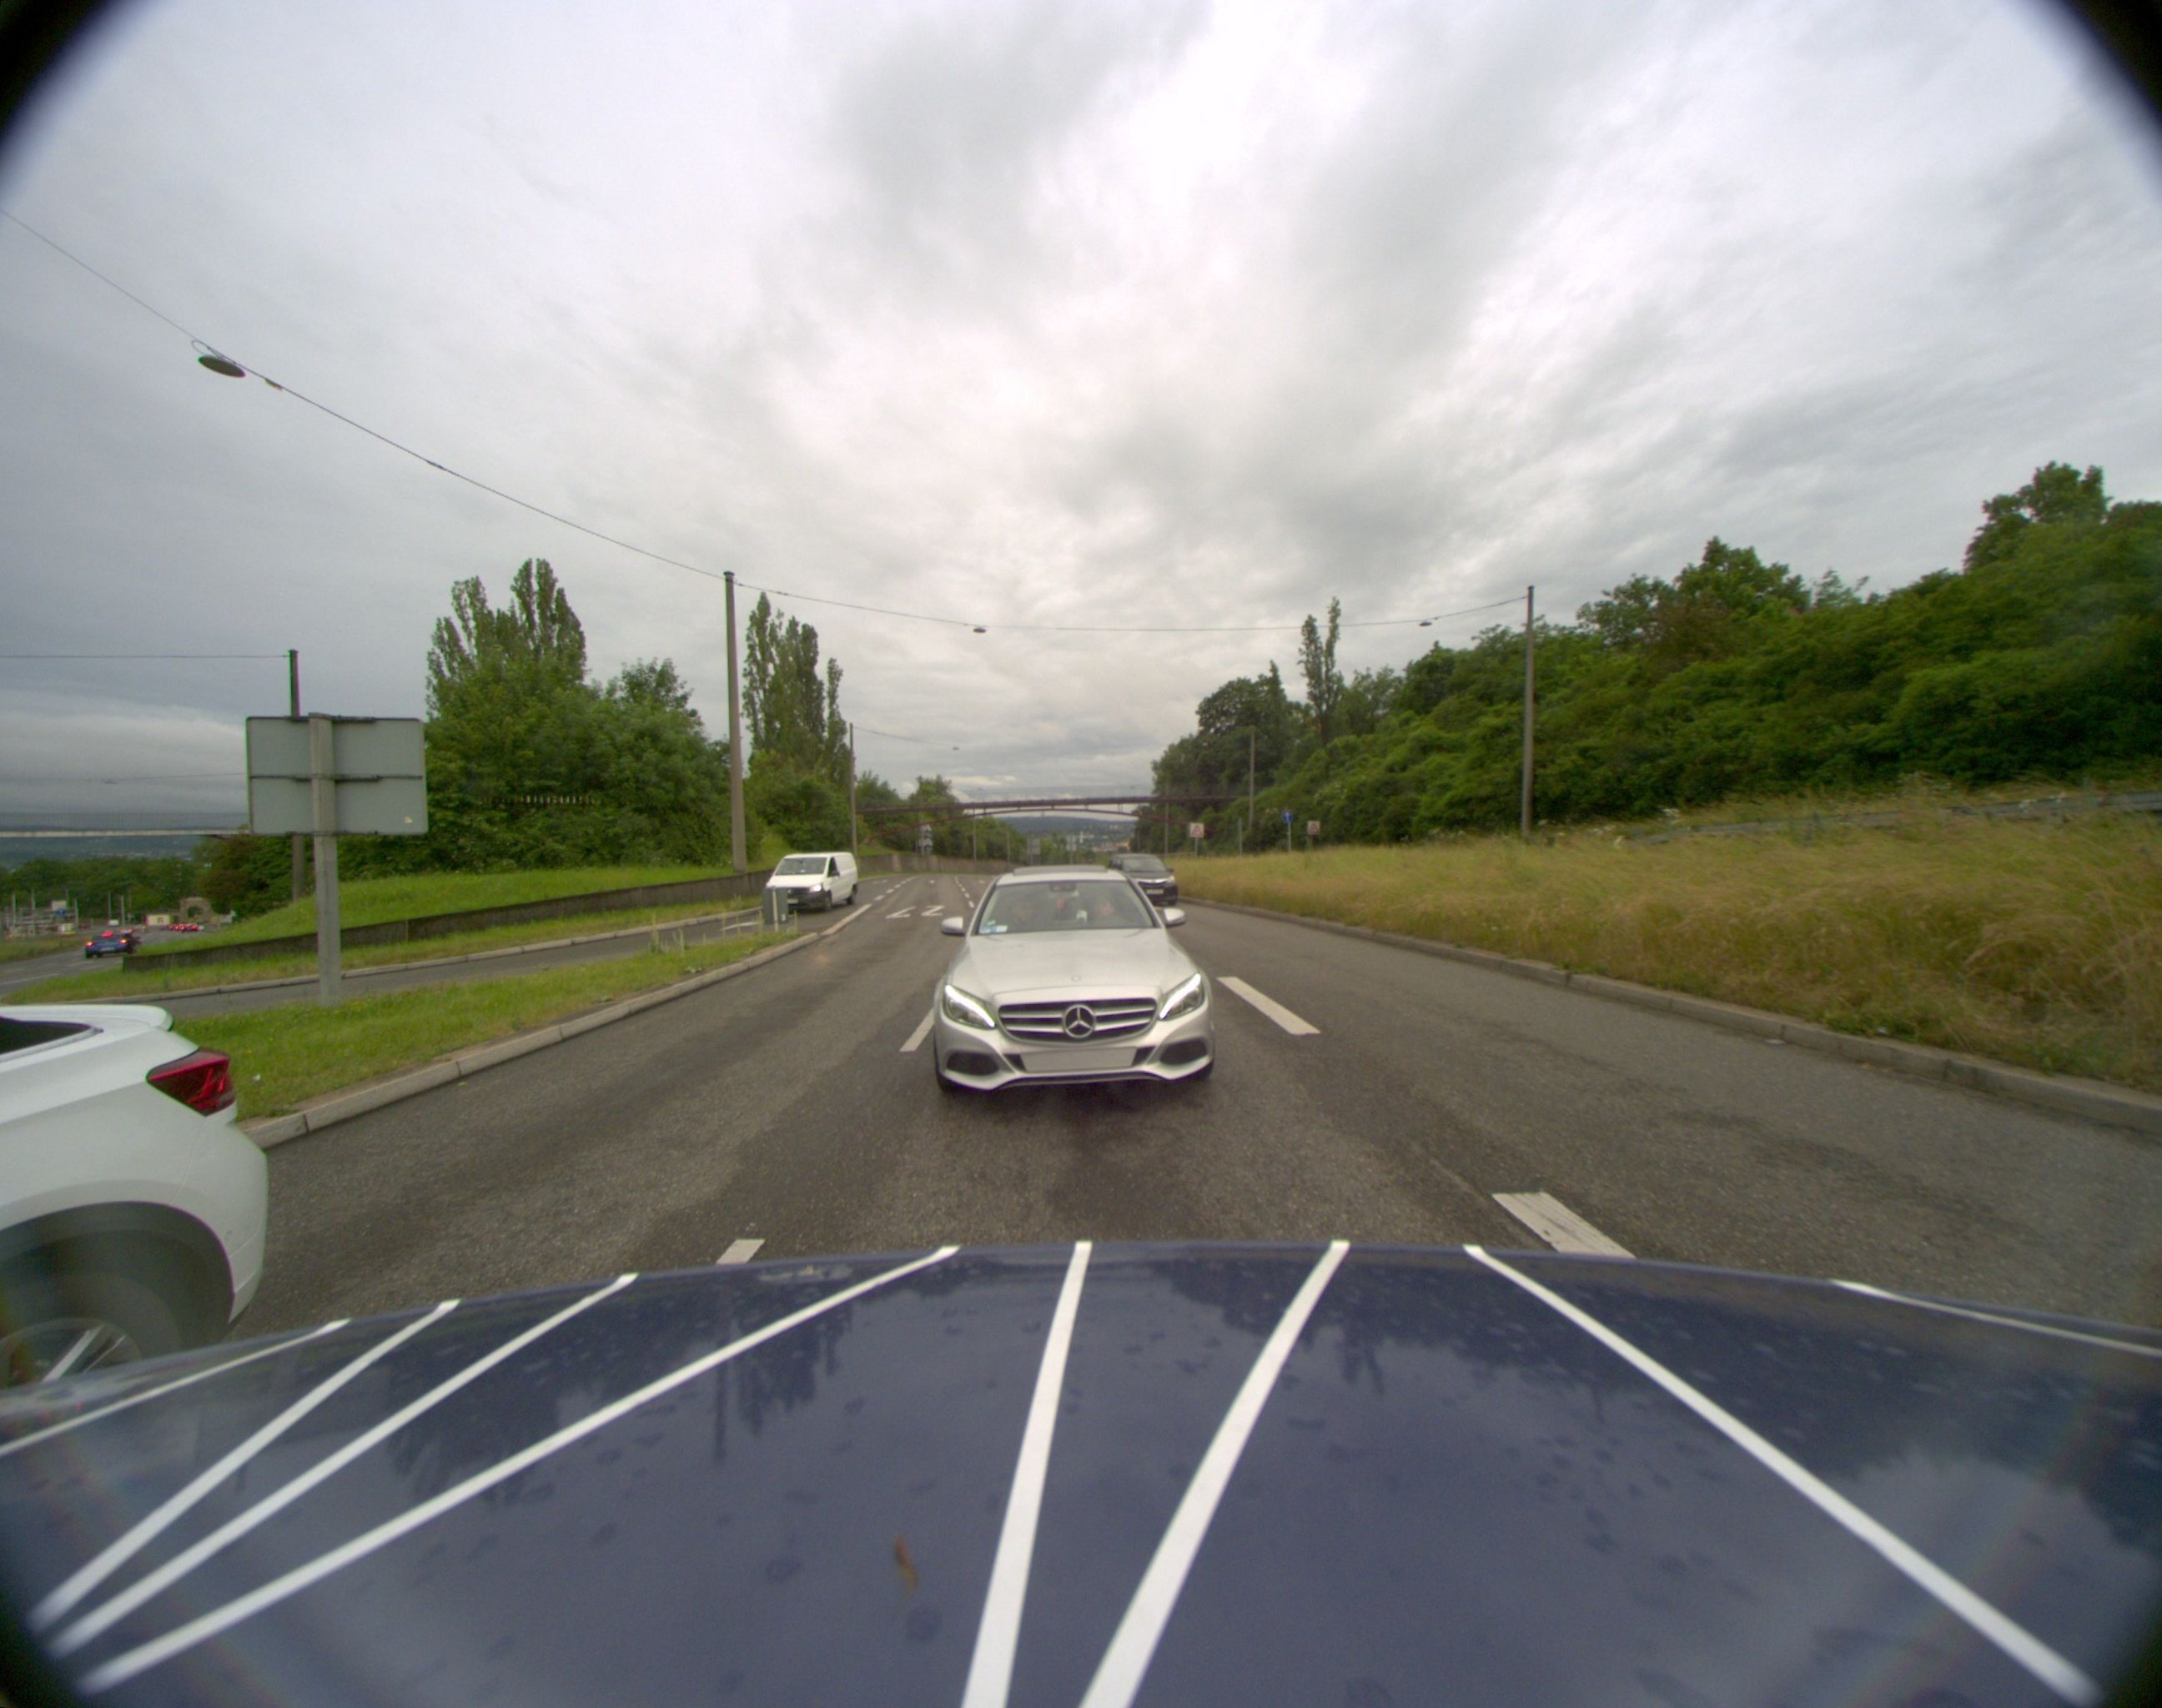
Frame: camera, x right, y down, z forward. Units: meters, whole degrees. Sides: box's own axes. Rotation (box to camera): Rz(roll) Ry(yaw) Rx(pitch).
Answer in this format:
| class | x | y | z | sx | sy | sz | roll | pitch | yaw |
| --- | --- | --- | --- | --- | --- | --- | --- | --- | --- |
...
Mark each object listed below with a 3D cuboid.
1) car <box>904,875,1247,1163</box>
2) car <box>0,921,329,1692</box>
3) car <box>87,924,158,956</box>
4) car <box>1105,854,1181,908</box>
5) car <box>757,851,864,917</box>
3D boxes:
| class | x | y | z | sx | sy | sz | roll | pitch | yaw |
| --- | --- | --- | --- | --- | --- | --- | --- | --- | --- |
| car | -0.199 | 0.969 | 6.315 | 1.895 | 1.360 | 4.132 | -2 | 1 | -5 |
| car | -3.083 | 1.038 | 0.144 | 1.718 | 1.544 | 4.227 | -2 | 1 | -3 |
| car | -58.279 | 5.188 | 46.275 | 1.703 | 1.467 | 4.281 | -3 | 1 | -39 |
| car | 1.865 | 0.798 | 23.948 | 1.647 | 1.495 | 3.776 | -2 | 0 | -6 |
| car | -8.784 | 0.884 | 25.173 | 1.999 | 1.837 | 4.821 | -3 | 1 | -4 |
